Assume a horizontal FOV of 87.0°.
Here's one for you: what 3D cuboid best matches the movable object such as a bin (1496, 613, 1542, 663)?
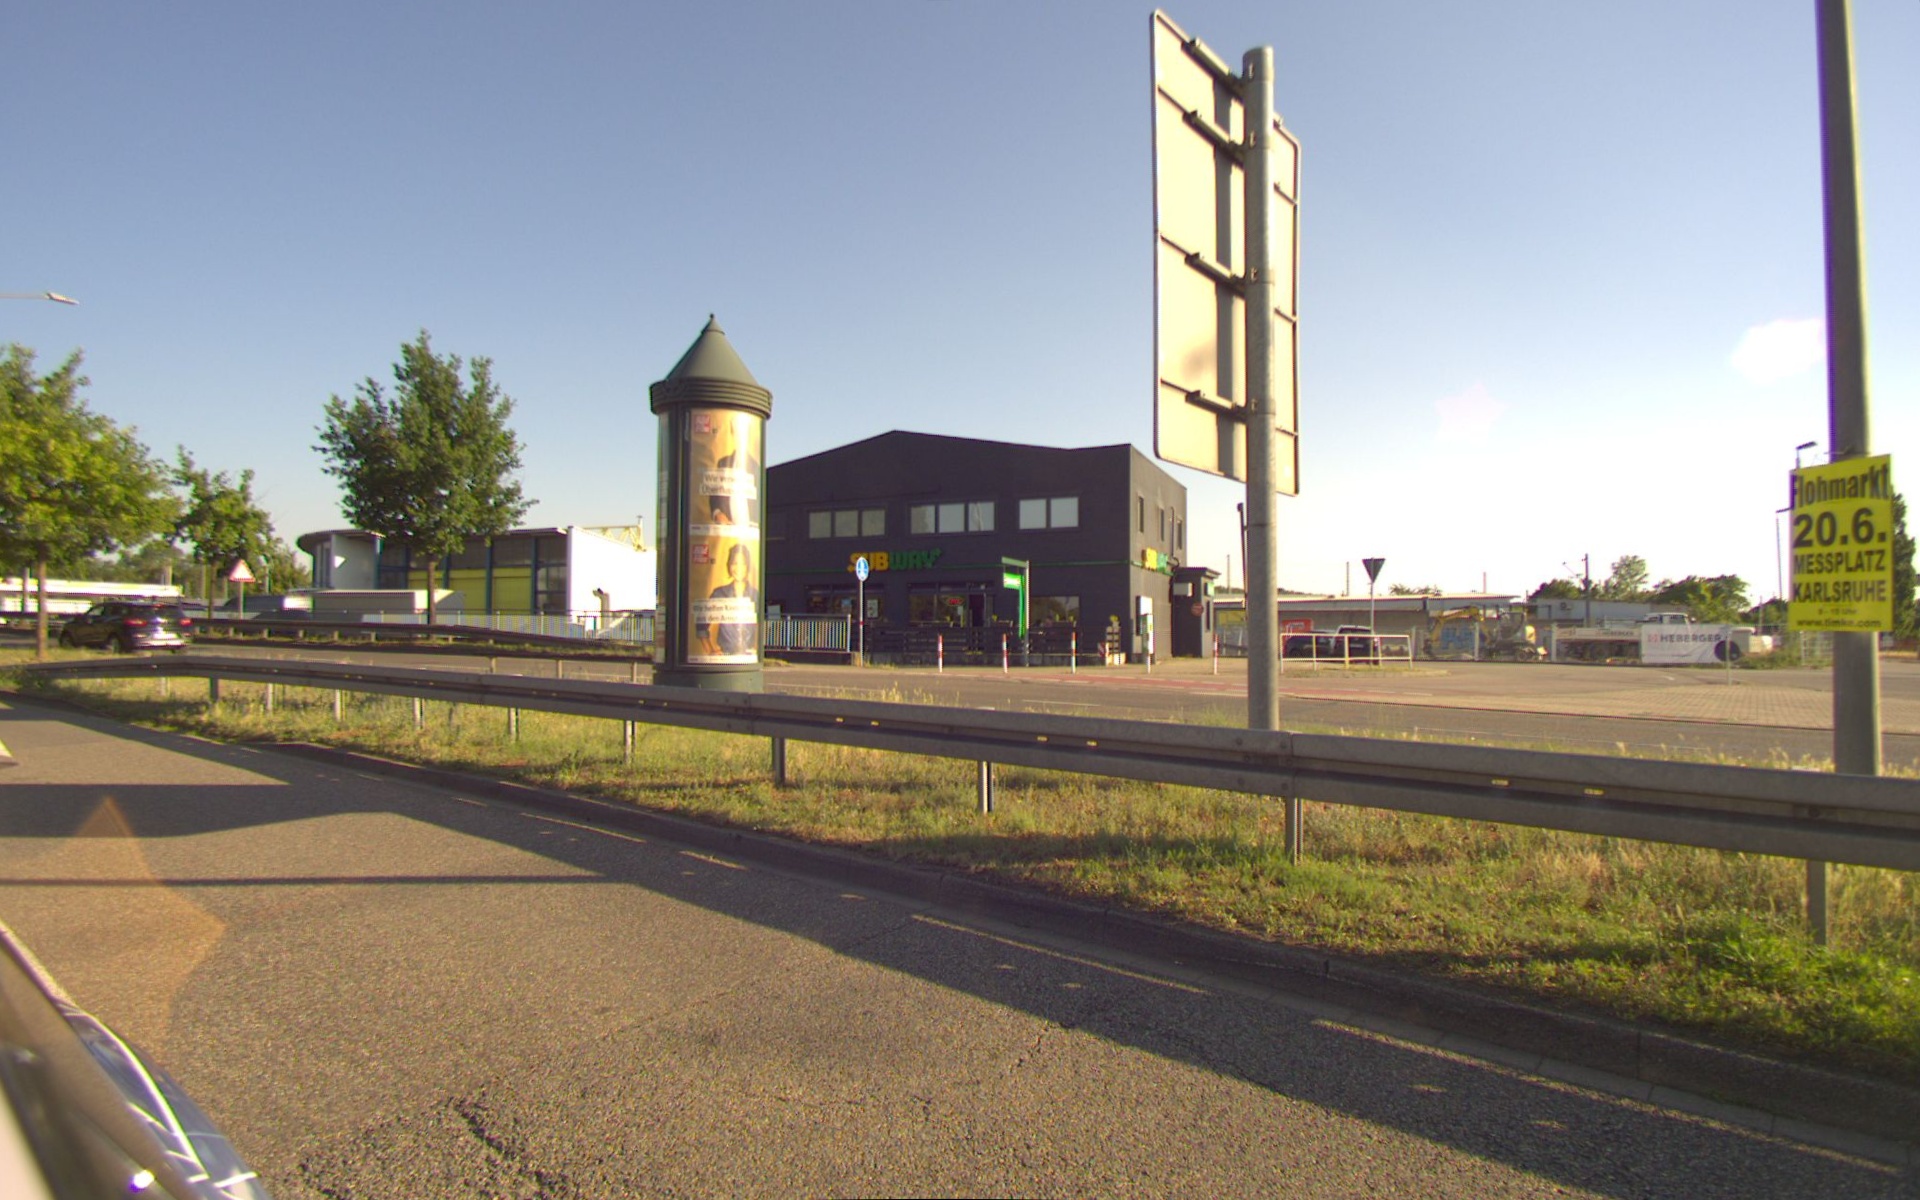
[{"bbox_3d":[31.454,2.131,56.938,2.211,2.735,1.721,0,-1,30],"label":"movable object such as a bin"}]

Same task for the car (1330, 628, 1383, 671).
[{"bbox_3d":[15.289,1.866,39.169,1.830,1.541,3.973,0,-1,20],"label":"car"}]

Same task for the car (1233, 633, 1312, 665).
[{"bbox_3d":[16.145,2.506,52.419,1.654,1.519,3.689,5,-4,-33],"label":"car"}]

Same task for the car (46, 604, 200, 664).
[{"bbox_3d":[-24.511,0.955,29.622,4.371,1.616,1.835,1,-1,26],"label":"car"}]

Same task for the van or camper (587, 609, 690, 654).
[{"bbox_3d":[-14.977,1.468,47.198,4.158,1.940,2.006,3,-1,-32],"label":"van or camper"}]

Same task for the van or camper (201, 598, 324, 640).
[{"bbox_3d":[-30.111,0.808,43.693,4.928,1.698,1.985,1,-1,23],"label":"van or camper"}]

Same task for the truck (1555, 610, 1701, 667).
[{"bbox_3d":[39.061,2.235,59.354,6.700,3.168,2.433,1,-1,8],"label":"truck"}]

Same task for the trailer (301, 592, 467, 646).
[{"bbox_3d":[-23.353,0.751,40.994,6.564,1.985,2.408,1,-1,24],"label":"trailer"}]
